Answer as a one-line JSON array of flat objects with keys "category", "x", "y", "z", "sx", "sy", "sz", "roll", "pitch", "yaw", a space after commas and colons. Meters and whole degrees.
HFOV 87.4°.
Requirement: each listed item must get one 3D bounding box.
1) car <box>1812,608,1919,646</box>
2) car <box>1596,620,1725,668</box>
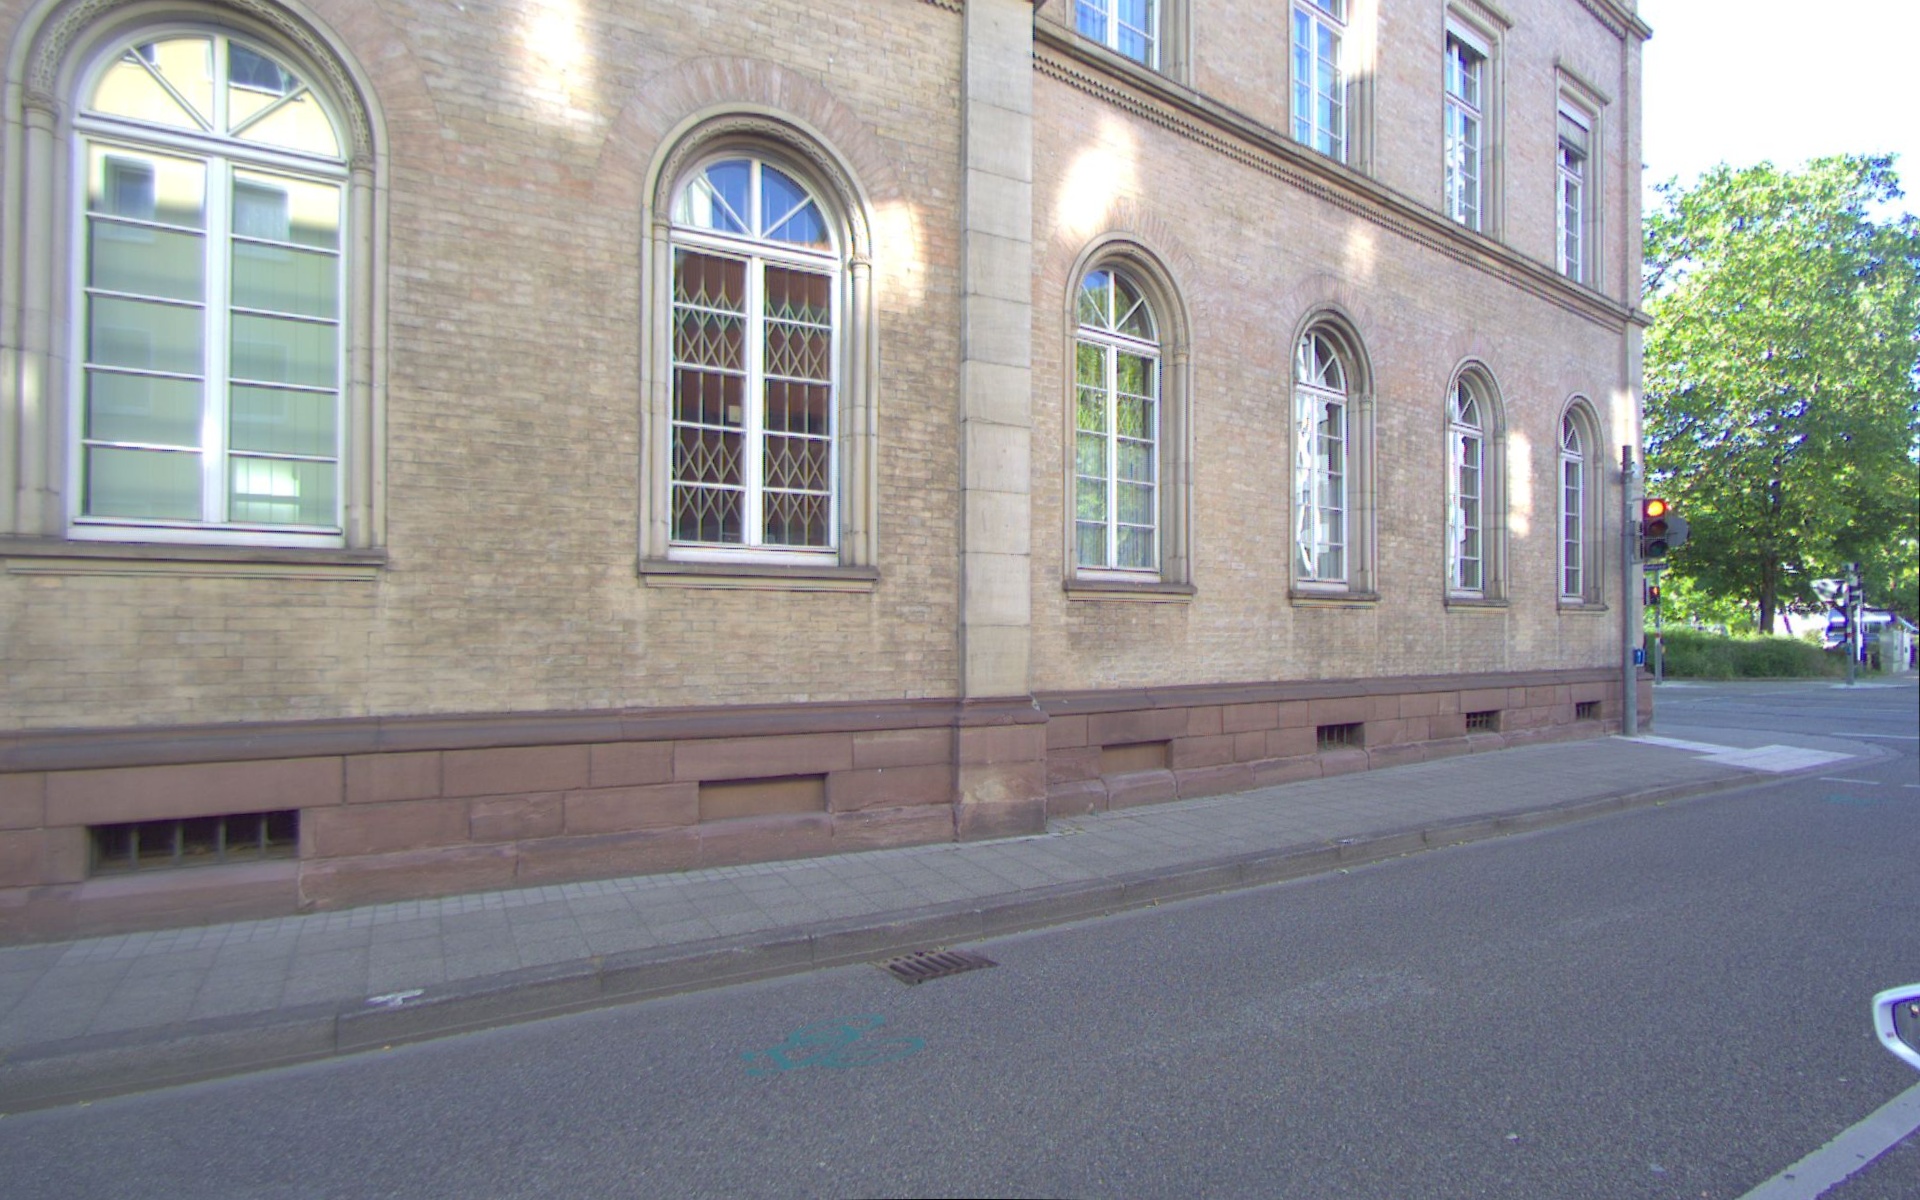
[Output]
[{"category": "car", "x": 53.498, "y": 1.589, "z": 59.397, "sx": 1.983, "sy": 2.040, "sz": 4.409, "roll": 2, "pitch": 0, "yaw": -38}, {"category": "car", "x": 24.380, "y": 1.515, "z": 35.032, "sx": 1.636, "sy": 1.476, "sz": 3.382, "roll": 2, "pitch": 0, "yaw": -39}]
